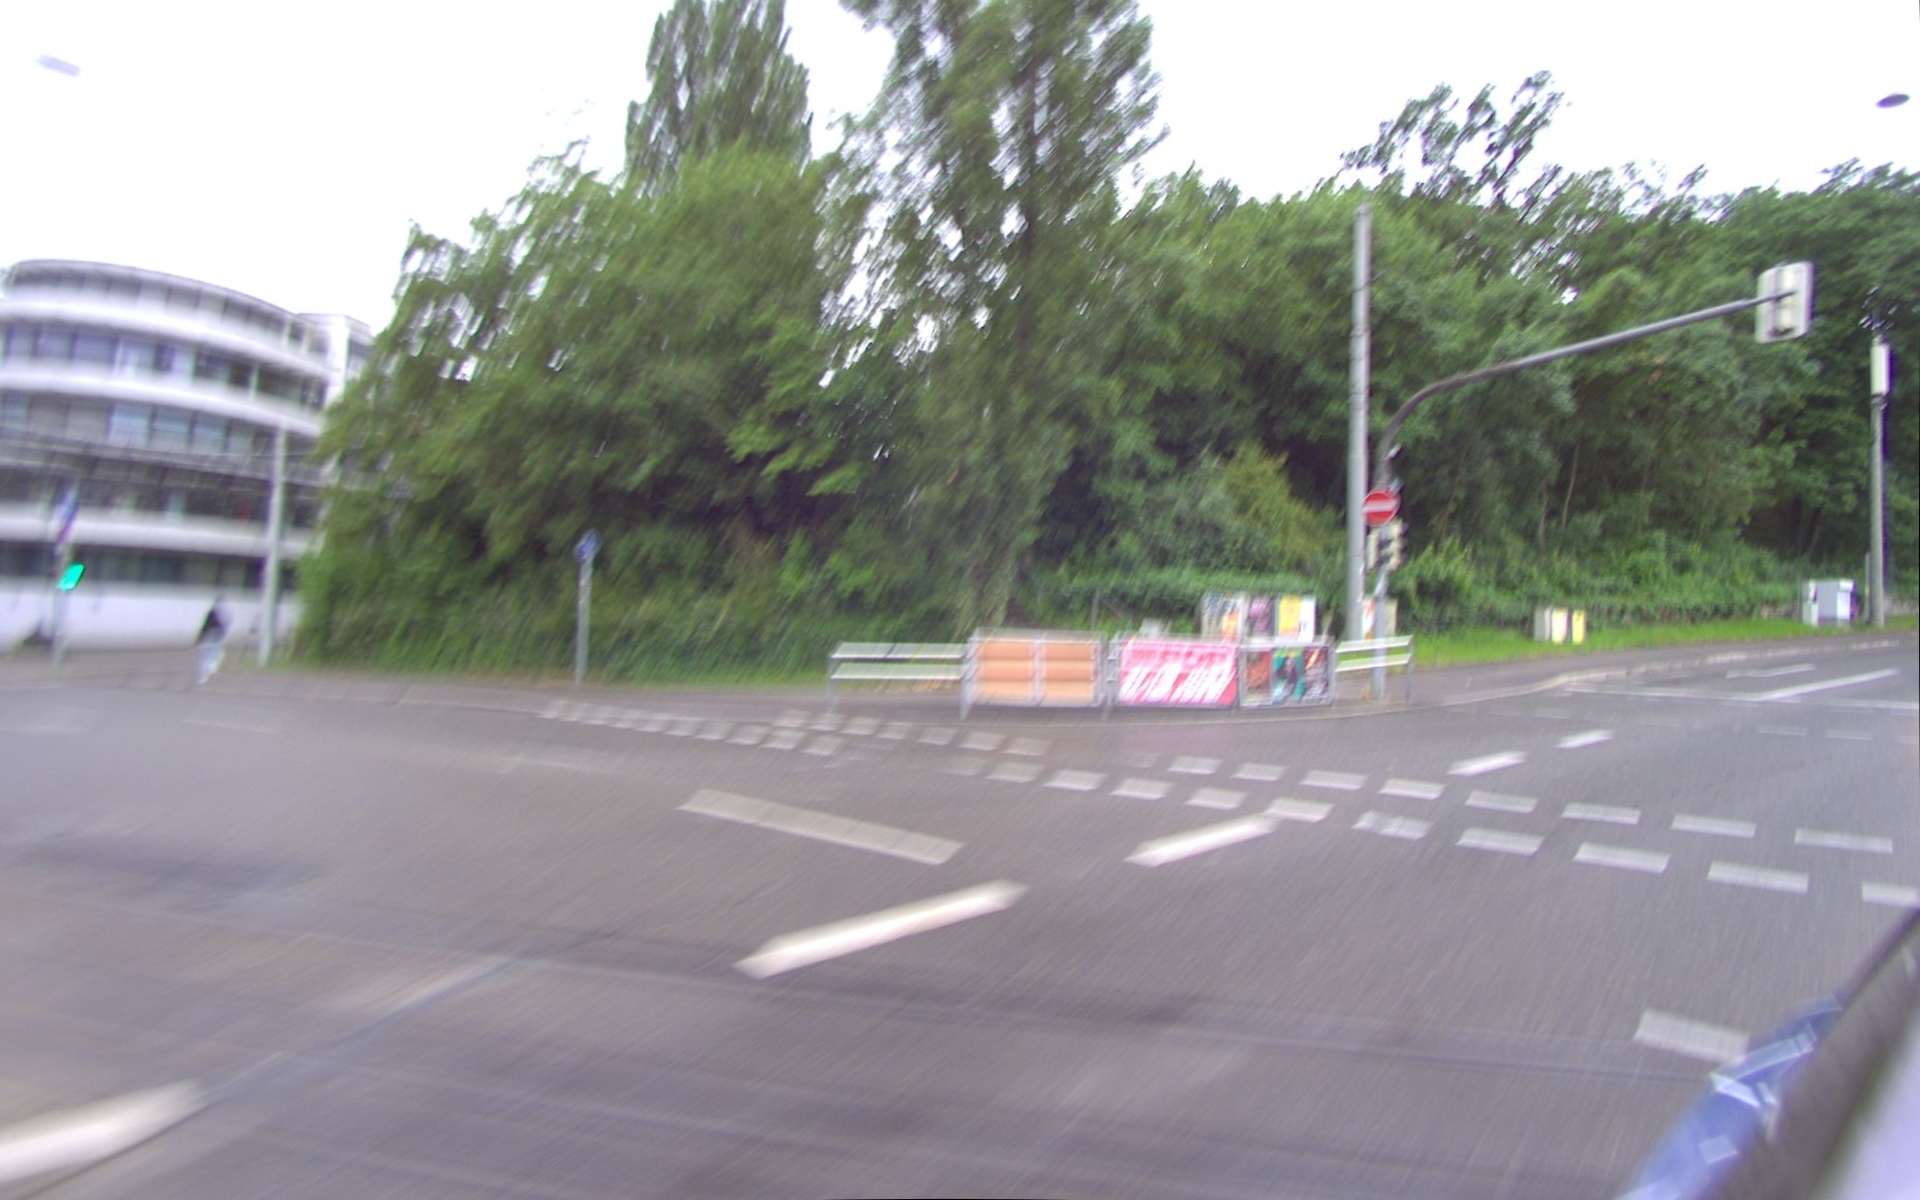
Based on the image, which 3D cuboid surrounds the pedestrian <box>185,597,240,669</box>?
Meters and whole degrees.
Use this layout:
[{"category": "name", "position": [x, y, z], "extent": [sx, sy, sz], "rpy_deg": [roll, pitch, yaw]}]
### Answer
[{"category": "pedestrian", "position": [-16.725, 0.724, 22.657], "extent": [0.651, 1.575, 0.799], "rpy_deg": [-1, -2, 36]}]
